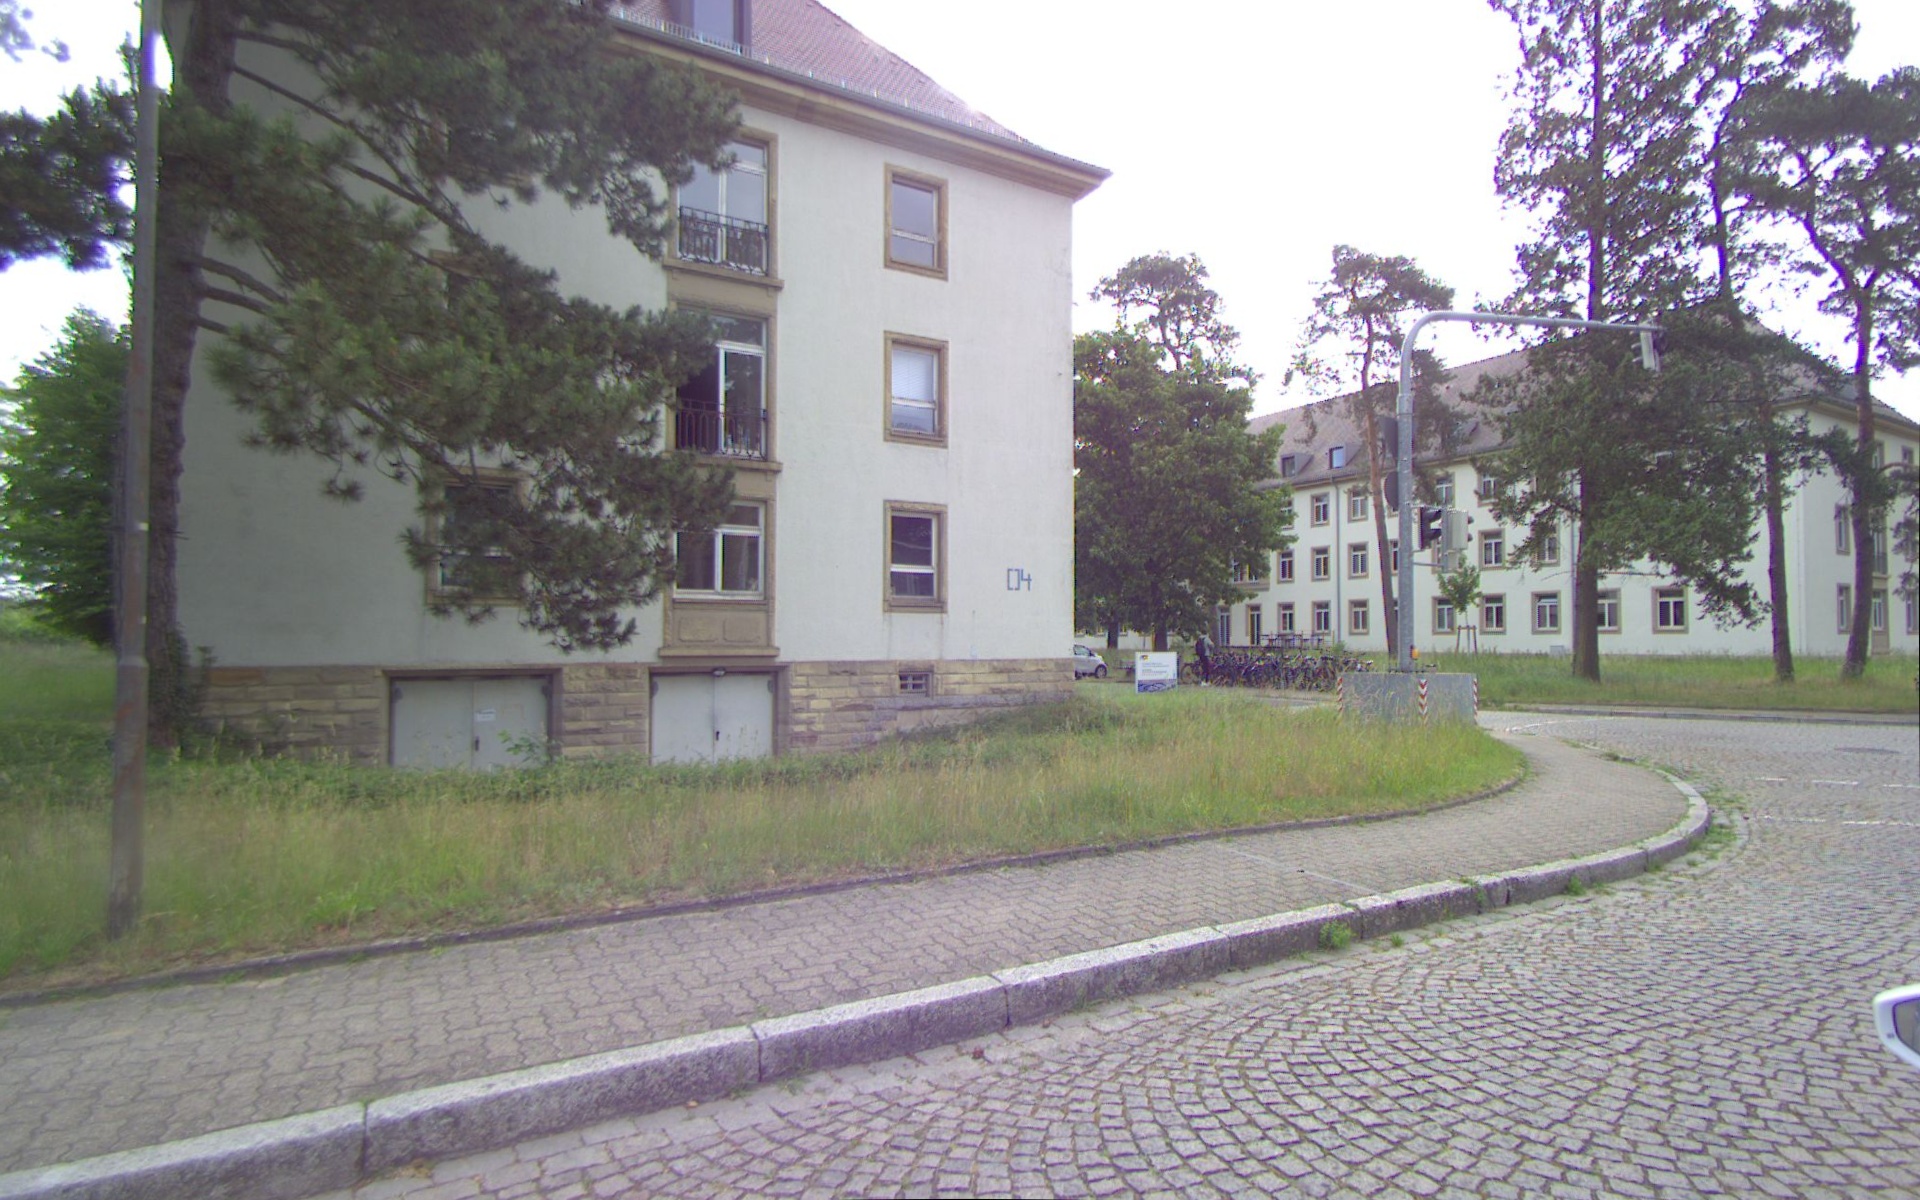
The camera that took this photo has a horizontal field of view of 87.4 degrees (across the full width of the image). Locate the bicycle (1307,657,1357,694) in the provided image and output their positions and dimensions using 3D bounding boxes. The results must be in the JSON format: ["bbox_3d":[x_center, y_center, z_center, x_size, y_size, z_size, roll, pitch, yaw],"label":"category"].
[{"bbox_3d":[11.414,2.311,30.805,1.565,1.093,0.512,2,-3,-28],"label":"bicycle"}]

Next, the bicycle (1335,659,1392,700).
[{"bbox_3d":[11.362,2.224,28.327,0.510,1.093,1.457,2,-3,-32],"label":"bicycle"}]

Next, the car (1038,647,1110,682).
[{"bbox_3d":[4.887,2.738,43.001,2.756,1.446,1.509,2,-2,-31],"label":"car"}]

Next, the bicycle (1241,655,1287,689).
[{"bbox_3d":[10.054,2.371,33.213,1.567,1.093,0.512,2,-3,-31],"label":"bicycle"}]

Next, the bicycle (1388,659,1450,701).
[{"bbox_3d":[12.317,2.140,26.999,0.510,1.079,1.457,2,-3,-32],"label":"bicycle"}]

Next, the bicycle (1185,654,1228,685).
[{"bbox_3d":[8.727,2.448,35.571,1.567,1.093,0.512,2,-3,-31],"label":"bicycle"}]

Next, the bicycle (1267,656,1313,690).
[{"bbox_3d":[10.613,2.337,32.298,1.567,1.093,0.512,2,-3,-31],"label":"bicycle"}]

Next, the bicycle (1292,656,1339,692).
[{"bbox_3d":[11.142,2.319,31.462,1.567,1.093,0.512,2,-3,-31],"label":"bicycle"}]

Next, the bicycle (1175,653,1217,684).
[{"bbox_3d":[8.469,2.451,35.999,1.567,1.093,0.512,2,-3,-31],"label":"bicycle"}]

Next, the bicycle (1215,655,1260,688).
[{"bbox_3d":[9.460,2.427,34.231,1.567,1.093,0.512,2,-3,-31],"label":"bicycle"}]

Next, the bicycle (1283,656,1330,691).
[{"bbox_3d":[10.966,2.322,31.777,1.567,1.093,0.512,2,-3,-31],"label":"bicycle"}]

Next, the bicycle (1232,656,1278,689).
[{"bbox_3d":[9.856,2.404,33.542,1.567,1.093,0.512,2,-3,-31],"label":"bicycle"}]

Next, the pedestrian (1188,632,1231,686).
[{"bbox_3d":[8.537,2.015,34.422,1.135,1.812,1.064,-1,-2,-2],"label":"pedestrian"}]

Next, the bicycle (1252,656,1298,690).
[{"bbox_3d":[10.285,2.364,32.825,1.567,1.093,0.512,2,-3,-31],"label":"bicycle"}]

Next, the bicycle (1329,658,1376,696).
[{"bbox_3d":[11.825,2.307,30.264,1.569,1.093,0.511,2,-3,-34],"label":"bicycle"}]
